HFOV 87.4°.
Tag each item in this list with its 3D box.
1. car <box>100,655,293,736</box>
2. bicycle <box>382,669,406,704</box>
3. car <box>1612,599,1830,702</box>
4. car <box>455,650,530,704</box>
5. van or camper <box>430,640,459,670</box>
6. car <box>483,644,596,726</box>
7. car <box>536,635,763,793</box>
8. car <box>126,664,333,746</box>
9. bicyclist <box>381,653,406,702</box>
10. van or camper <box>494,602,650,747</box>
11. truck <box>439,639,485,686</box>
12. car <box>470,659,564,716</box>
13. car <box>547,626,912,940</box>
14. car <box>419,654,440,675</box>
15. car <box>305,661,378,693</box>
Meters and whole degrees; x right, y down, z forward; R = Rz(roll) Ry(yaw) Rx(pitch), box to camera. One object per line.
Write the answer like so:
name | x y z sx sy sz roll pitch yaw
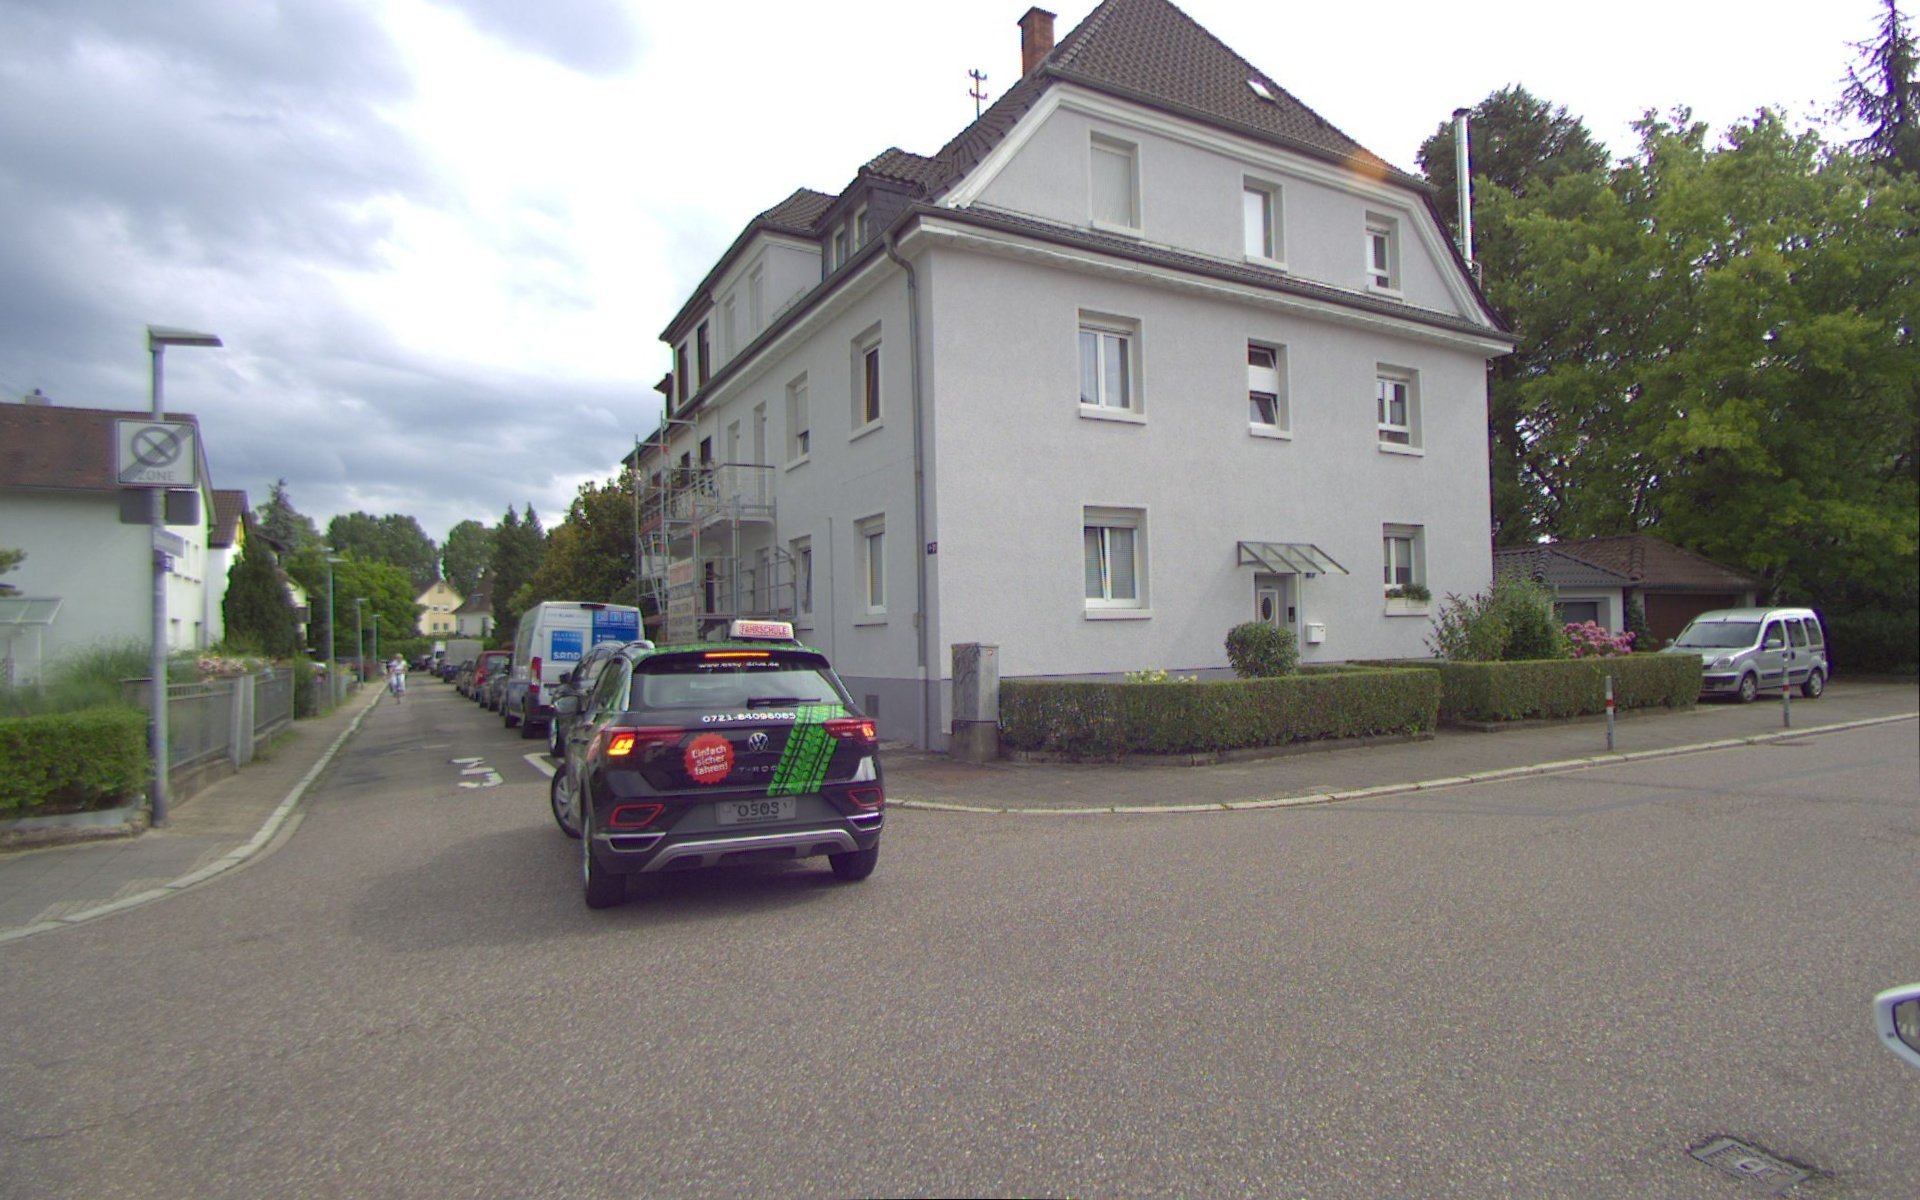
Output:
car | -18.075 2.222 23.981 3.544 1.689 1.574 0 -3 -34
bicycle | -20.227 3.087 35.922 0.699 1.167 1.859 -1 -2 -29
car | 15.347 0.978 20.251 3.949 1.862 1.986 0 -2 -28
car | -16.980 2.731 36.359 1.978 1.772 4.306 0 -2 -32
van or camper | -45.703 4.870 88.936 2.122 2.574 4.978 0 -2 -29
car | -10.659 2.057 25.272 1.978 1.795 4.306 0 -2 -32
car | -4.439 1.420 13.864 1.978 1.749 4.306 0 -2 -32
car | -15.819 2.226 21.965 3.544 1.520 1.574 0 -3 -34
bicyclist | -20.276 2.781 35.968 0.690 1.688 0.968 -2 -2 -29
van or camper | -7.900 1.399 20.122 2.173 2.491 5.016 0 -2 -30
truck | -30.036 3.727 60.473 2.112 2.692 4.547 0 -2 -31
car | -13.138 2.512 29.624 1.978 1.474 4.306 0 -2 -32
car | -1.926 1.048 7.214 1.797 1.539 4.020 0 -4 -24
car | -56.662 6.898 107.320 1.840 2.039 3.975 -1 -4 -26
car | -39.797 4.948 64.671 3.958 1.794 1.853 0 -4 -34
